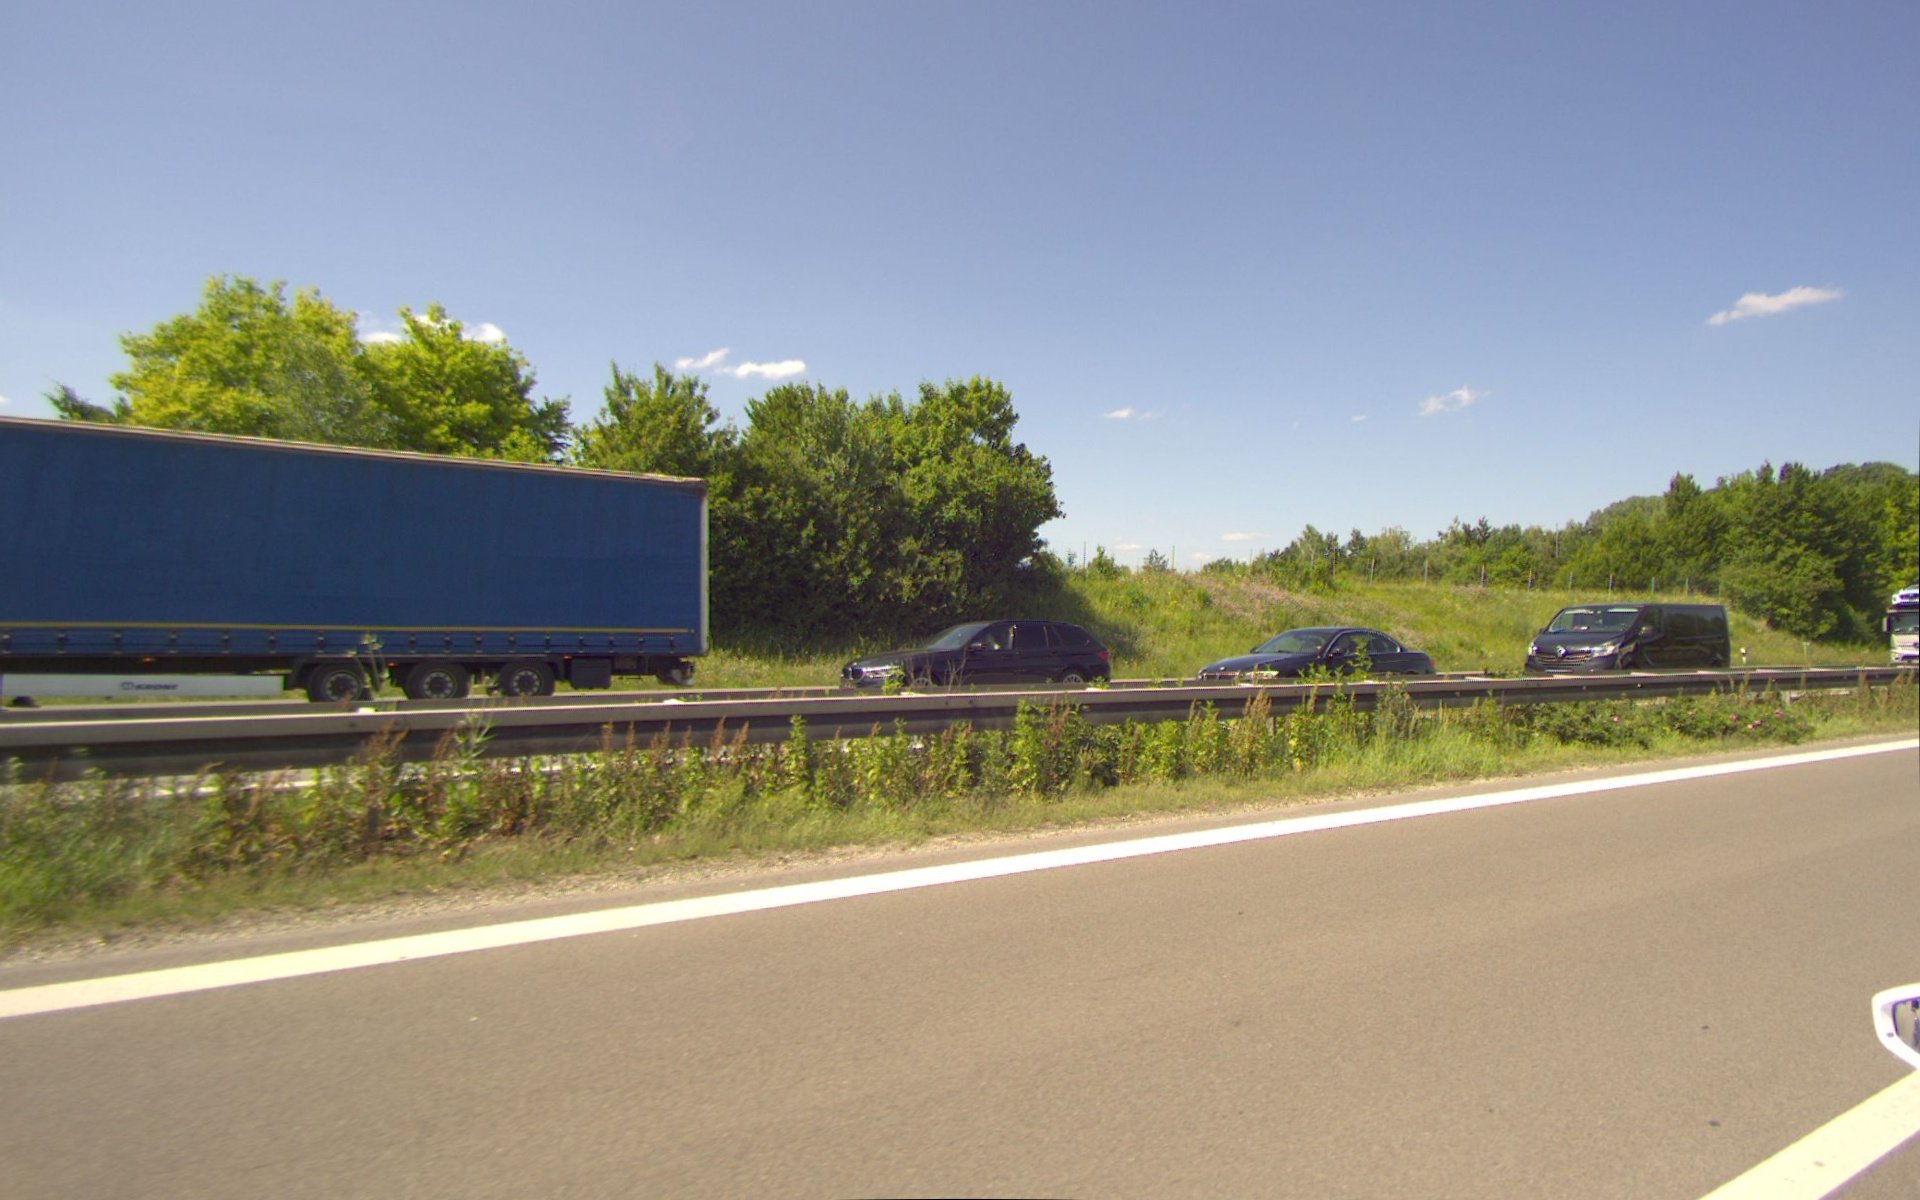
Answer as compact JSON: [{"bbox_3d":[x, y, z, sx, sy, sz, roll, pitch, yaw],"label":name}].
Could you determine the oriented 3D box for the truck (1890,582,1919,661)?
[{"bbox_3d":[56.809,1.263,55.862,16.487,4.103,3.195,1,-2,-32],"label":"truck"}]

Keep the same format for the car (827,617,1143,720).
[{"bbox_3d":[0.505,1.090,17.154,5.148,1.529,1.983,1,-1,-31],"label":"car"}]

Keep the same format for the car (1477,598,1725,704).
[{"bbox_3d":[13.433,1.021,20.950,5.623,1.971,2.080,1,-1,-31],"label":"car"}]

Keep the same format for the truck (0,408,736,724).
[{"bbox_3d":[-10.638,-0.332,15.795,13.800,4.132,2.659,1,-3,-31],"label":"truck"}]

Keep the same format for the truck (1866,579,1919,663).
[{"bbox_3d":[50.055,1.111,51.646,7.312,4.103,3.224,1,-2,-32],"label":"truck"}]

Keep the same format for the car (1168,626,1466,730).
[{"bbox_3d":[5.885,1.186,16.357,4.960,1.458,1.865,1,-1,-31],"label":"car"}]
